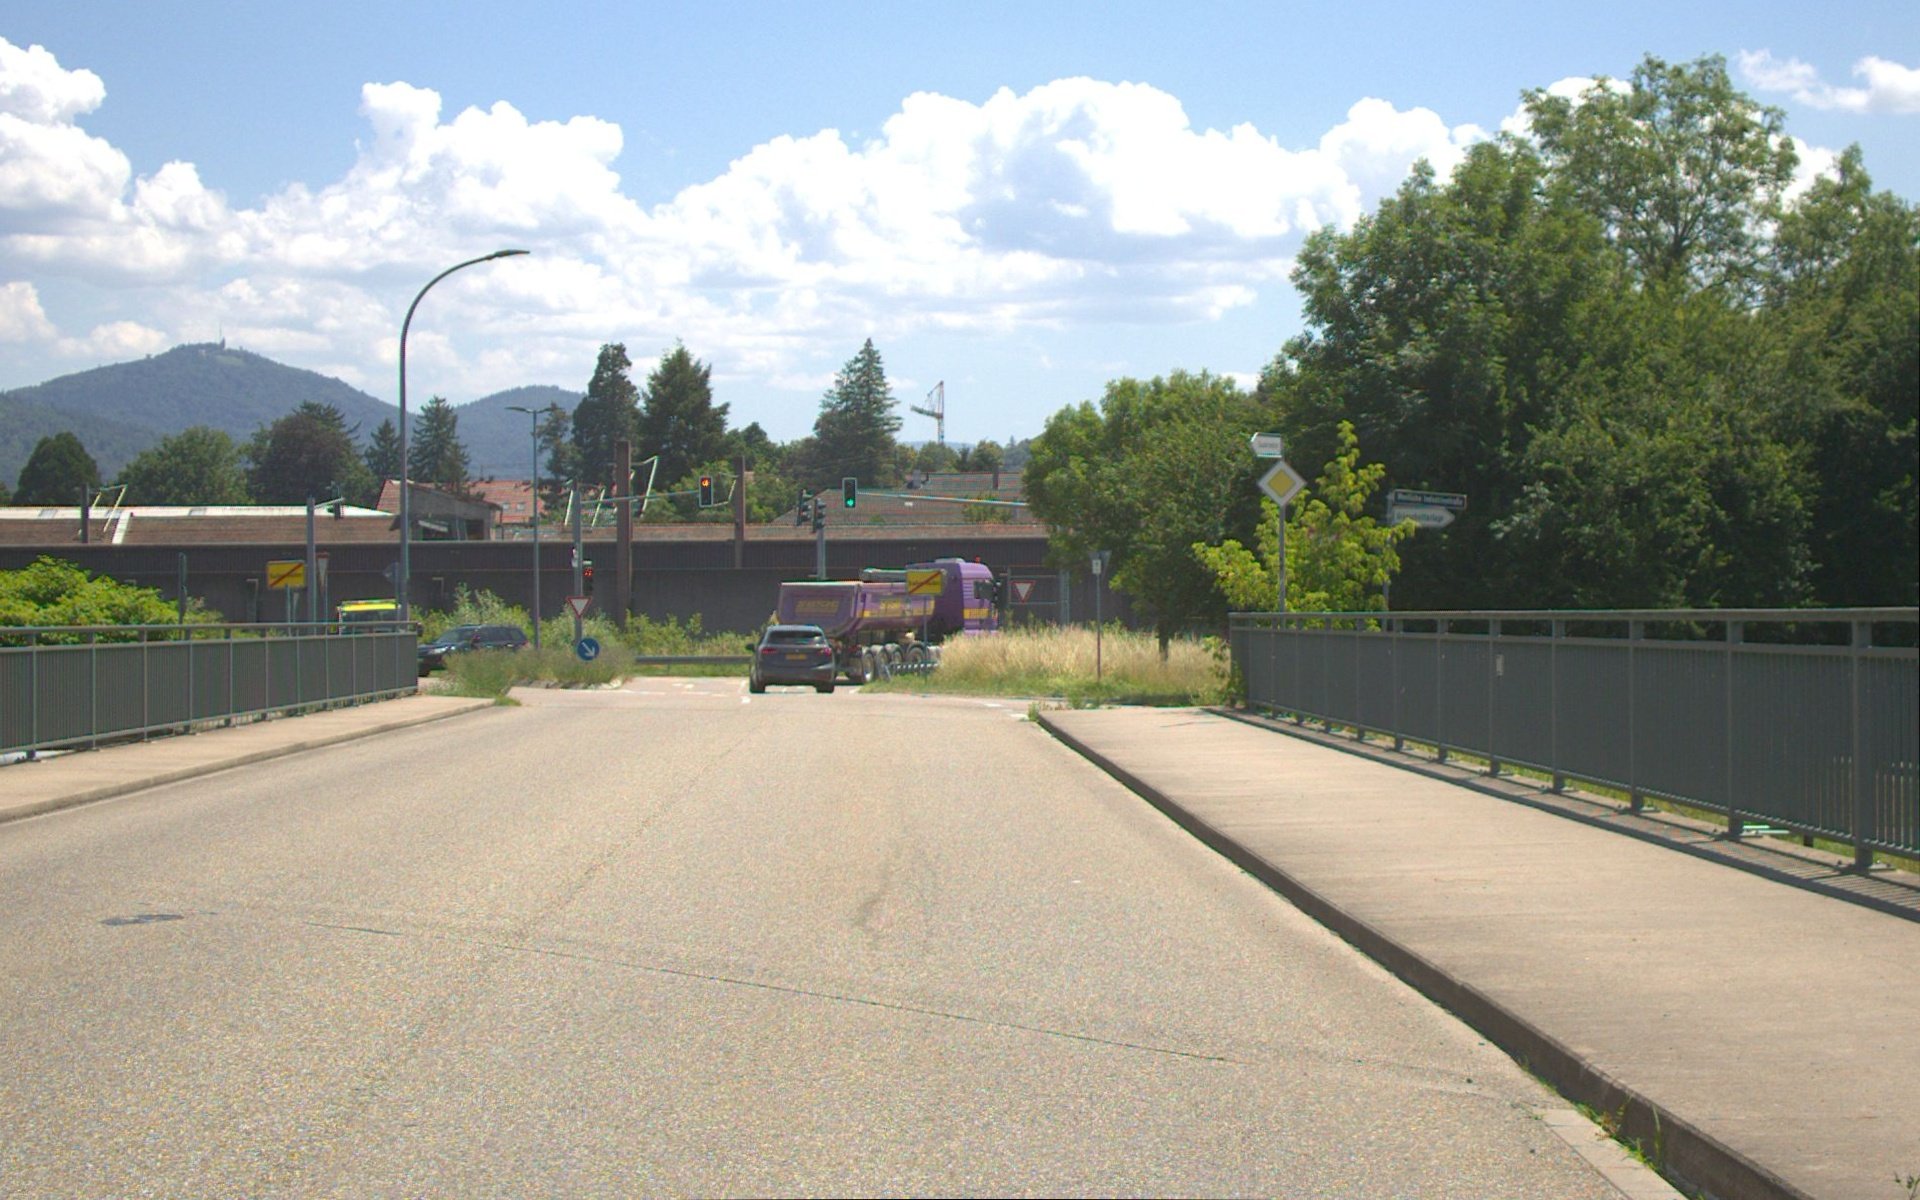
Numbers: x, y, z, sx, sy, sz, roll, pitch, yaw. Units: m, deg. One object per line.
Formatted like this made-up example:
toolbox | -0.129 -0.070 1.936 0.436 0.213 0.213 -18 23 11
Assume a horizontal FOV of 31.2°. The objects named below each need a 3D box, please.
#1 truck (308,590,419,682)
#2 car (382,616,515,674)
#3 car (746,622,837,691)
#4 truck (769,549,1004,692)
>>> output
truck | -16.690 1.048 95.775 2.310 2.330 9.052 -2 -1 -14
car | -16.413 1.452 110.472 1.906 1.696 3.991 4 1 36
car | -3.889 1.289 79.921 1.993 1.498 4.000 1 0 -2
truck | -2.118 0.736 106.863 2.999 4.166 11.793 0 -1 21
